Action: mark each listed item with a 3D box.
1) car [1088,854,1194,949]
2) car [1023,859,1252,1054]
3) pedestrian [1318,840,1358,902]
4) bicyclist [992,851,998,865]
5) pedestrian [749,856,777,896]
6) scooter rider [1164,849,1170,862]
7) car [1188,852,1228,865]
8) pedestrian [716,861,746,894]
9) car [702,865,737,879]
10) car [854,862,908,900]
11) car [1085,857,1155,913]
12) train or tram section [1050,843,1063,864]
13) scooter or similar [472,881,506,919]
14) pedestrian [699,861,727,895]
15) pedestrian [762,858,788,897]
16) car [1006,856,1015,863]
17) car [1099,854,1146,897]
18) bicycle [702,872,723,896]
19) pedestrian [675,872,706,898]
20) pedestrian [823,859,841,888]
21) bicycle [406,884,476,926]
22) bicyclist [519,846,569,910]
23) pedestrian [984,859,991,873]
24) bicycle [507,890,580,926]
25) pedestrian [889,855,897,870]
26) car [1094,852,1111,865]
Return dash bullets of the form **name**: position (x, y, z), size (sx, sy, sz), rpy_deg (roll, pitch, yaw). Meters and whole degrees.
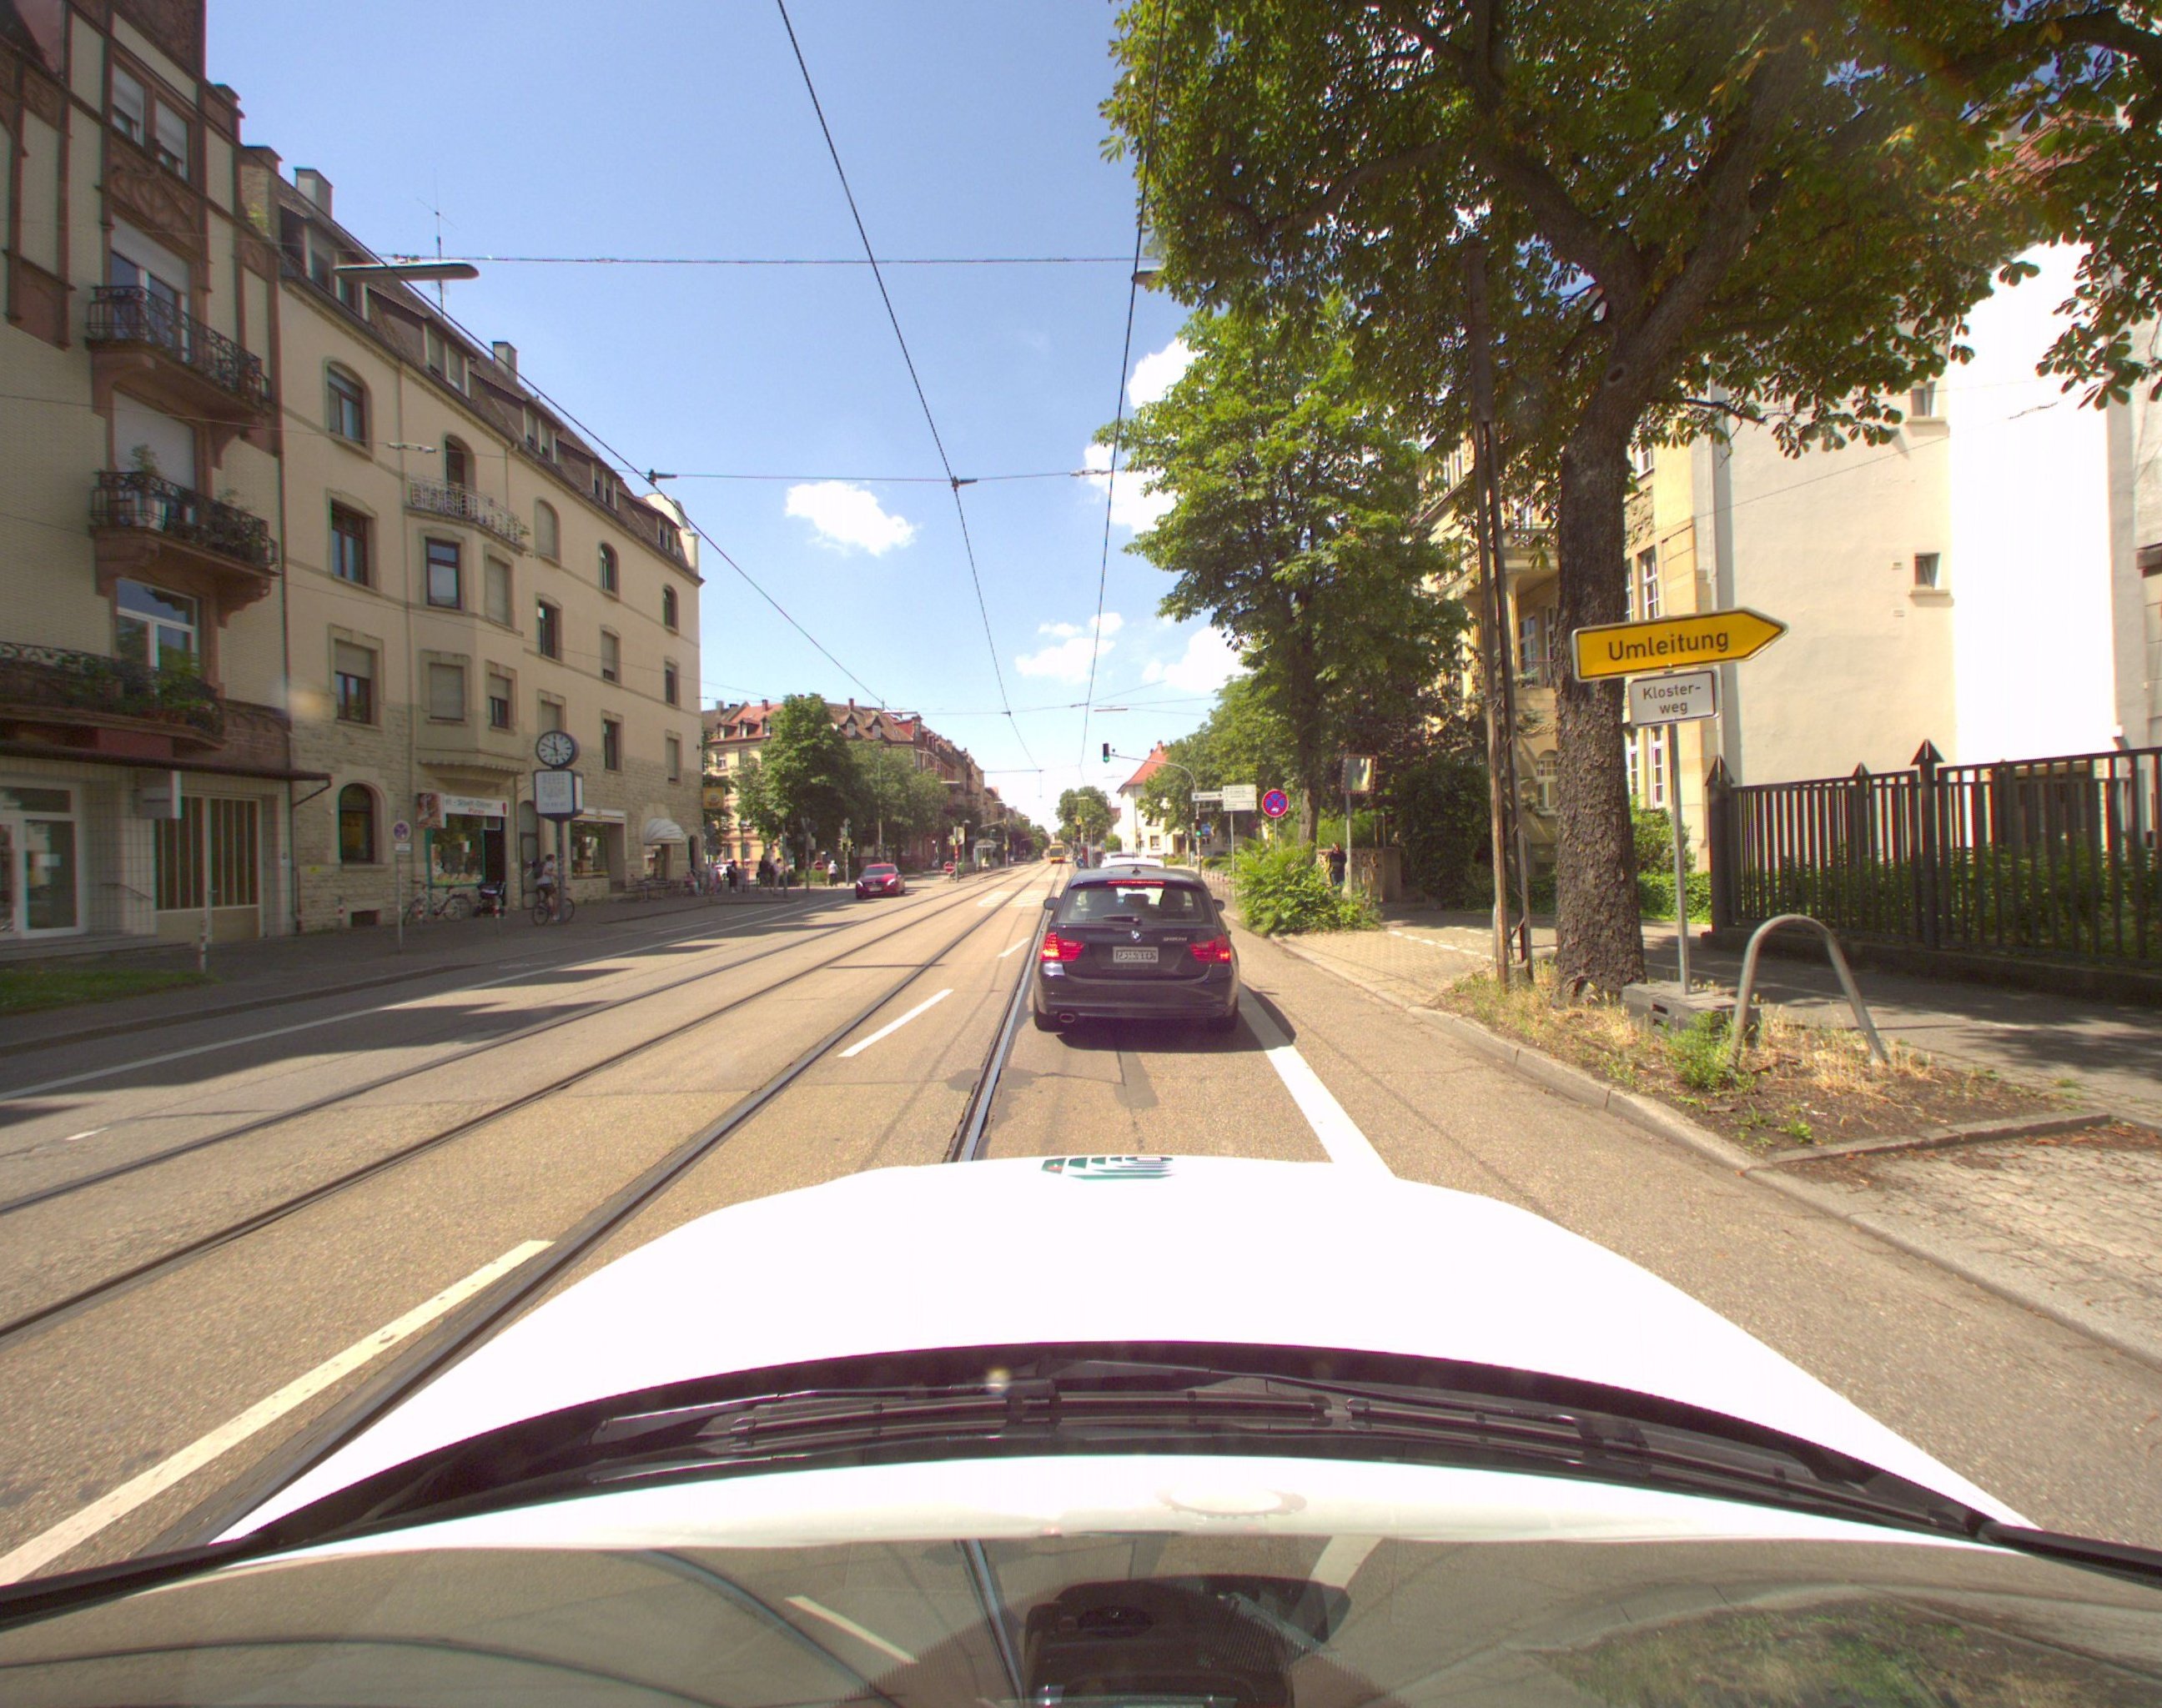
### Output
- **car**: position (1.017, 0.778, 15.145), size (1.679, 1.484, 3.685), rpy_deg (-2, 0, 1)
- **car**: position (0.588, 0.789, 8.444), size (1.715, 1.409, 4.570), rpy_deg (0, 0, 4)
- **pedestrian**: position (7.060, 0.458, 22.438), size (0.852, 1.645, 0.838), rpy_deg (-2, 0, 7)
- **bicyclist**: position (-11.572, 0.478, 109.835), size (0.721, 1.870, 0.824), rpy_deg (-2, 0, -3)
- **pedestrian**: position (-15.540, 1.054, 39.805), size (0.898, 1.891, 1.164), rpy_deg (-2, 0, -2)
- **scooter rider**: position (10.684, 0.175, 100.977), size (0.590, 1.687, 0.527), rpy_deg (-2, 0, -7)
- **car**: position (13.871, 0.487, 88.743), size (3.948, 1.243, 1.634), rpy_deg (-2, 0, 34)
- **pedestrian**: position (-17.605, 1.177, 40.967), size (1.016, 1.635, 0.865), rpy_deg (-2, 0, 10)
- **car**: position (-40.743, 1.980, 91.750), size (3.429, 1.471, 1.694), rpy_deg (-2, 0, 23)
- **car**: position (-8.726, 1.127, 35.850), size (1.822, 1.413, 4.416), rpy_deg (-3, 0, -8)
- **car**: position (0.983, 0.776, 22.123), size (1.686, 1.323, 3.820), rpy_deg (-2, 0, 0)
- **train or tram section**: position (-4.202, -0.121, 141.615), size (2.184, 3.482, 8.840), rpy_deg (-2, 0, -1)
- **scooter or similar**: position (-17.319, 1.337, 23.810), size (0.700, 1.044, 1.195), rpy_deg (0, -1, -42)
- **pedestrian**: position (-17.363, 1.127, 38.441), size (0.907, 1.594, 0.814), rpy_deg (-2, 0, 38)
- **pedestrian**: position (-14.110, 1.078, 37.580), size (0.855, 1.732, 0.777), rpy_deg (0, 0, 5)
- **car**: position (-17.026, 1.262, 196.491), size (1.787, 1.586, 3.987), rpy_deg (0, -1, -10)
- **car**: position (1.601, 0.772, 31.361), size (1.684, 1.514, 3.824), rpy_deg (-1, 0, 2)
- **bicycle**: position (-18.145, 1.470, 40.116), size (0.547, 1.128, 1.663), rpy_deg (-1, -2, -38)
- **pedestrian**: position (-17.490, 1.373, 36.487), size (0.913, 1.077, 0.883), rpy_deg (-2, 0, 0)
- **pedestrian**: position (-15.589, 1.222, 51.047), size (0.915, 1.723, 0.838), rpy_deg (-2, 0, -7)
- **bicycle**: position (-17.076, 1.343, 21.765), size (0.366, 1.066, 1.473), rpy_deg (-1, -1, 22)
- **bicyclist**: position (-14.209, 0.622, 21.584), size (0.753, 1.663, 0.831), rpy_deg (0, -1, 0)
- **pedestrian**: position (-8.299, 1.043, 72.165), size (0.613, 1.243, 0.626), rpy_deg (-2, 0, -7)
- **bicycle**: position (-14.195, 1.415, 21.578), size (0.750, 0.817, 1.818), rpy_deg (-2, 0, -3)
- **pedestrian**: position (-22.515, 1.049, 97.532), size (0.744, 1.811, 0.633), rpy_deg (-2, 0, -39)
- **car**: position (3.206, 0.677, 122.557), size (1.990, 1.849, 3.993), rpy_deg (-2, 0, -5)
